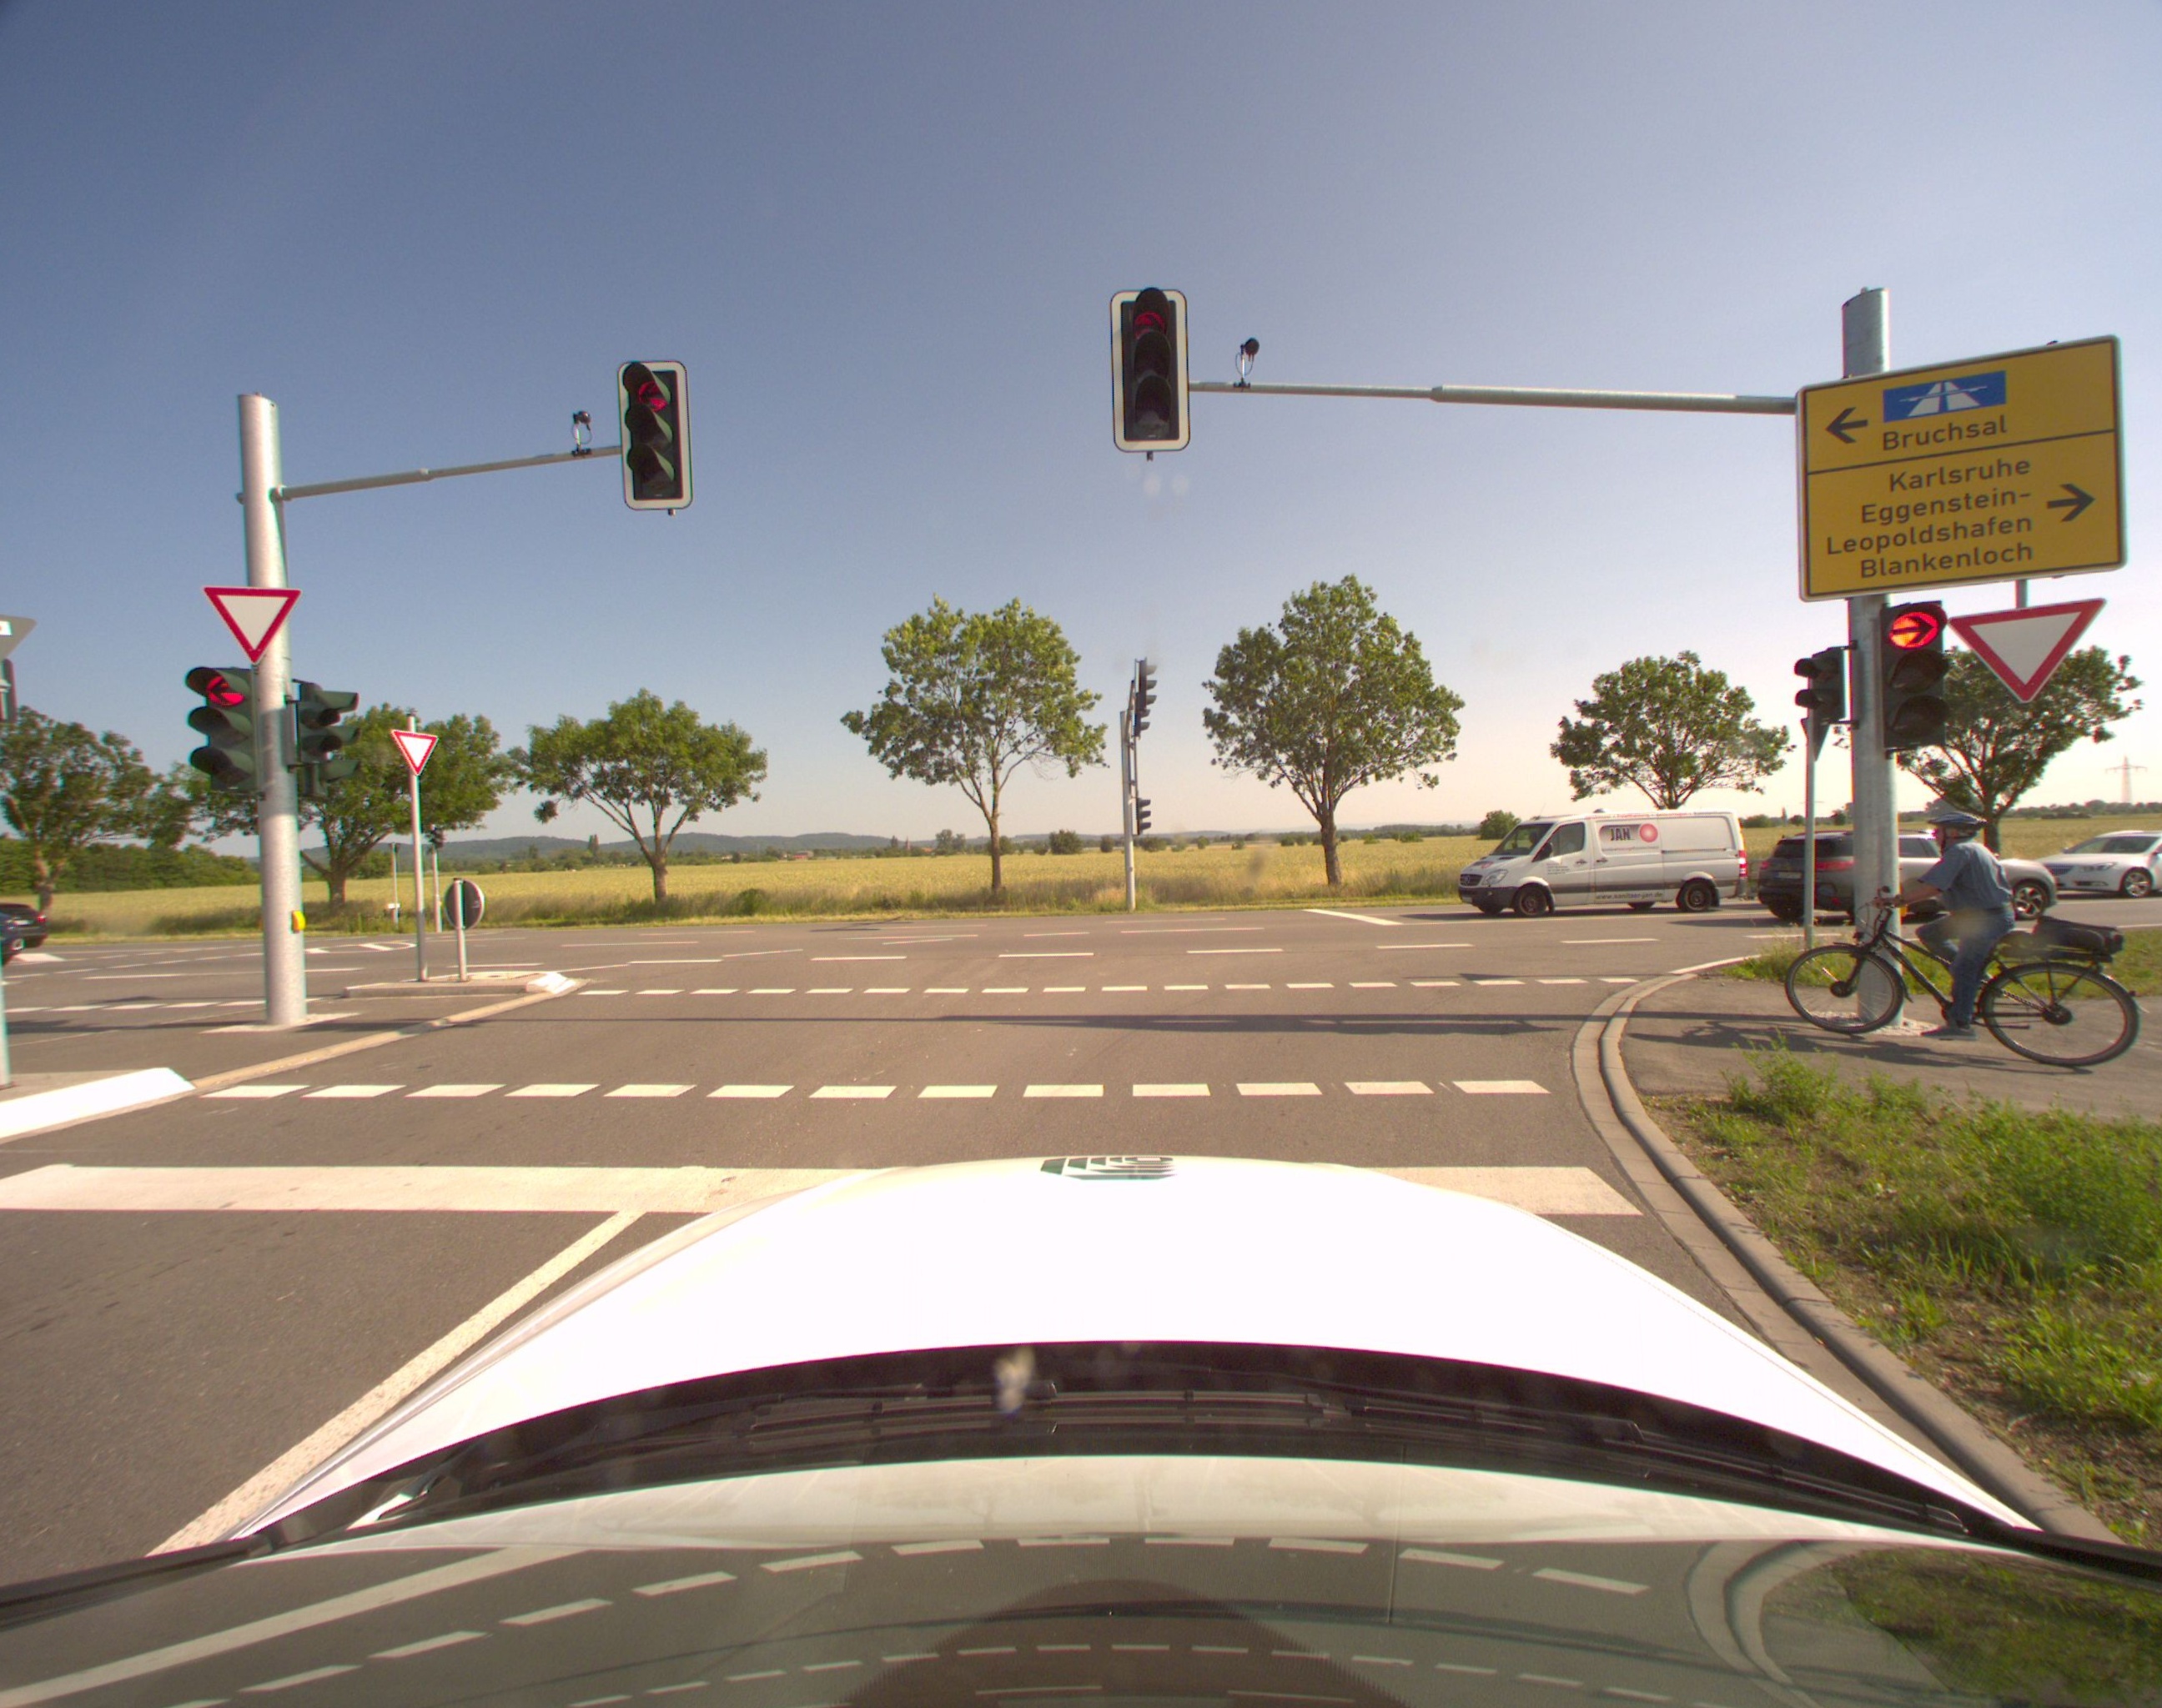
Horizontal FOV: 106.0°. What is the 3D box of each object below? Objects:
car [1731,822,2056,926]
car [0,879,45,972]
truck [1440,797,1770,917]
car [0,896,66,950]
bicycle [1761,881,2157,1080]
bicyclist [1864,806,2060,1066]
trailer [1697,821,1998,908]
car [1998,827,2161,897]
[{"bbox_3d":[14.837,0.344,15.060,4.082,1.681,1.977,-2,-1,-2],"label":"car"},{"bbox_3d":[-23.828,1.491,16.252,4.428,1.834,1.849,-2,-1,7],"label":"car"},{"bbox_3d":[11.787,0.080,18.640,6.157,2.405,2.071,-2,-1,0],"label":"truck"},{"bbox_3d":[-33.197,2.088,24.512,3.438,1.524,1.733,-2,-1,7],"label":"car"},{"bbox_3d":[6.437,0.839,6.138,0.685,1.151,1.922,0,2,-44],"label":"bicycle"},{"bbox_3d":[6.509,0.544,6.064,0.623,1.765,0.906,0,1,-44],"label":"bicyclist"},{"bbox_3d":[17.371,0.243,18.656,4.978,1.738,1.981,-2,-1,0],"label":"trailer"},{"bbox_3d":[24.667,0.132,19.015,4.682,1.492,1.763,-2,-1,-3],"label":"car"}]
